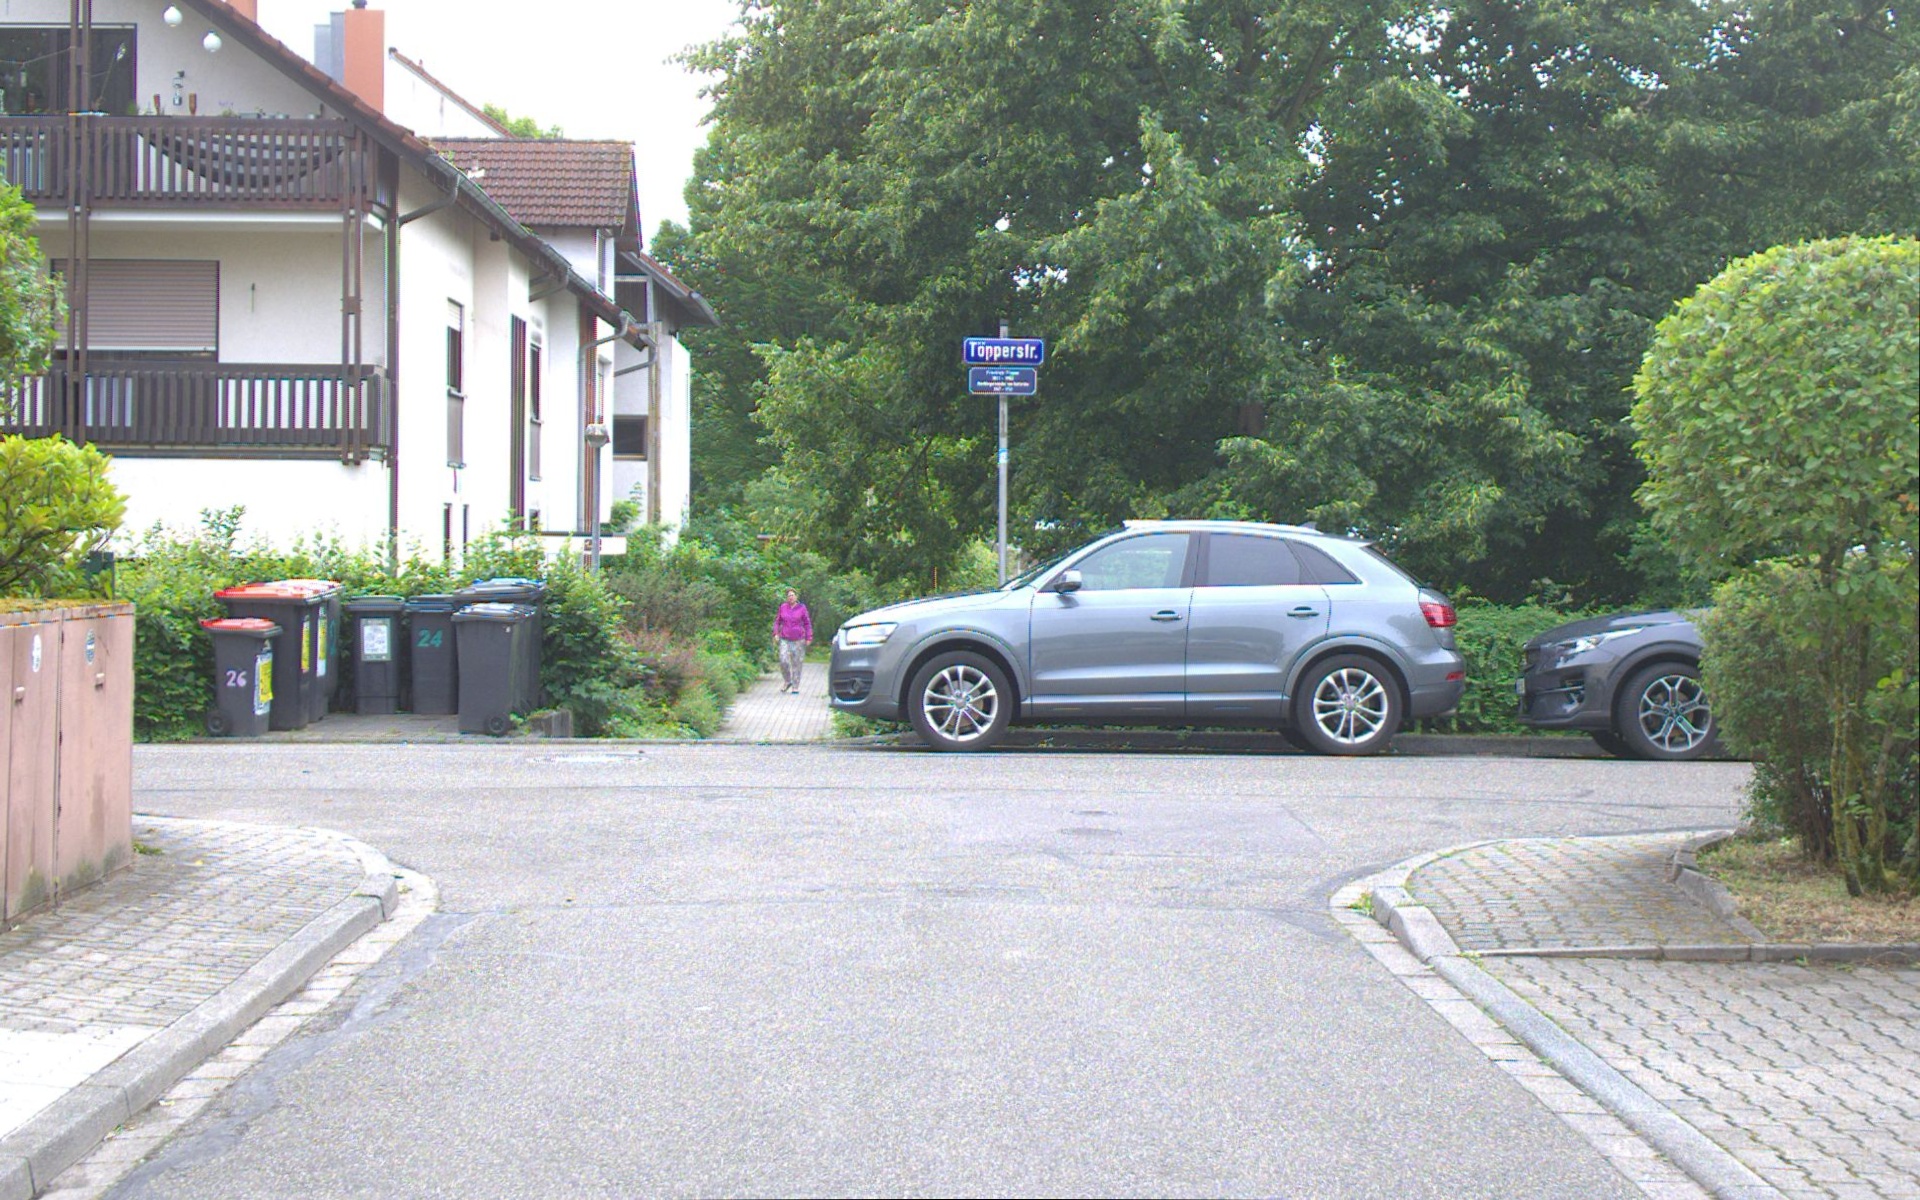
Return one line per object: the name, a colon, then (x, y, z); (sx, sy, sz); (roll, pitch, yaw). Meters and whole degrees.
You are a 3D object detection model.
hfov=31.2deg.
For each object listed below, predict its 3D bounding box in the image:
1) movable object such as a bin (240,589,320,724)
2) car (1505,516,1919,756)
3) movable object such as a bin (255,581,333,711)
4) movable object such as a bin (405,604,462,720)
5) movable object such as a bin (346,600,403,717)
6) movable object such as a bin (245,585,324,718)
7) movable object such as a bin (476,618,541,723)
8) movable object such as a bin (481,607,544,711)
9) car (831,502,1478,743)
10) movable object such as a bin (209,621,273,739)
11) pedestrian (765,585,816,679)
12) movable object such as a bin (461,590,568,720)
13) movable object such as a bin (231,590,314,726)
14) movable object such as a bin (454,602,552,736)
movable object such as a bin: (-5.140, 0.425, 25.997); (0.537, 0.990, 0.337); (1, 1, -4)
car: (5.871, 0.250, 23.123); (4.182, 1.526, 1.747); (1, -1, 3)
movable object such as a bin: (-5.191, 0.355, 26.821); (0.537, 0.990, 0.337); (1, 1, -4)
movable object such as a bin: (-4.140, 0.484, 27.039); (0.386, 0.886, 0.379); (1, 1, -4)
movable object such as a bin: (-4.601, 0.459, 27.017); (0.386, 0.898, 0.379); (1, 1, -4)
movable object such as a bin: (-5.173, 0.392, 26.349); (0.537, 0.990, 0.337); (1, 1, -4)
movable object such as a bin: (-3.523, 0.547, 26.834); (0.459, 0.795, 0.379); (1, 1, -4)
movable object such as a bin: (-3.546, 0.465, 27.259); (0.459, 0.795, 0.379); (1, 1, -4)
car: (1.259, 0.155, 23.429); (4.237, 1.526, 1.747); (1, -1, -1)
movable object such as a bin: (-5.252, 0.579, 25.115); (0.386, 0.834, 0.379); (1, 1, -4)
pedestrian: (-2.744, 0.520, 55.752); (0.815, 1.512, 0.438); (0, 0, -3)
movable object such as a bin: (-3.399, 0.414, 26.271); (0.733, 0.950, 0.584); (1, 1, -2)
movable object such as a bin: (-5.125, 0.428, 25.625); (0.537, 0.990, 0.379); (1, 1, -4)
movable object such as a bin: (-3.386, 0.506, 25.505); (0.638, 0.950, 0.723); (1, 1, -2)
